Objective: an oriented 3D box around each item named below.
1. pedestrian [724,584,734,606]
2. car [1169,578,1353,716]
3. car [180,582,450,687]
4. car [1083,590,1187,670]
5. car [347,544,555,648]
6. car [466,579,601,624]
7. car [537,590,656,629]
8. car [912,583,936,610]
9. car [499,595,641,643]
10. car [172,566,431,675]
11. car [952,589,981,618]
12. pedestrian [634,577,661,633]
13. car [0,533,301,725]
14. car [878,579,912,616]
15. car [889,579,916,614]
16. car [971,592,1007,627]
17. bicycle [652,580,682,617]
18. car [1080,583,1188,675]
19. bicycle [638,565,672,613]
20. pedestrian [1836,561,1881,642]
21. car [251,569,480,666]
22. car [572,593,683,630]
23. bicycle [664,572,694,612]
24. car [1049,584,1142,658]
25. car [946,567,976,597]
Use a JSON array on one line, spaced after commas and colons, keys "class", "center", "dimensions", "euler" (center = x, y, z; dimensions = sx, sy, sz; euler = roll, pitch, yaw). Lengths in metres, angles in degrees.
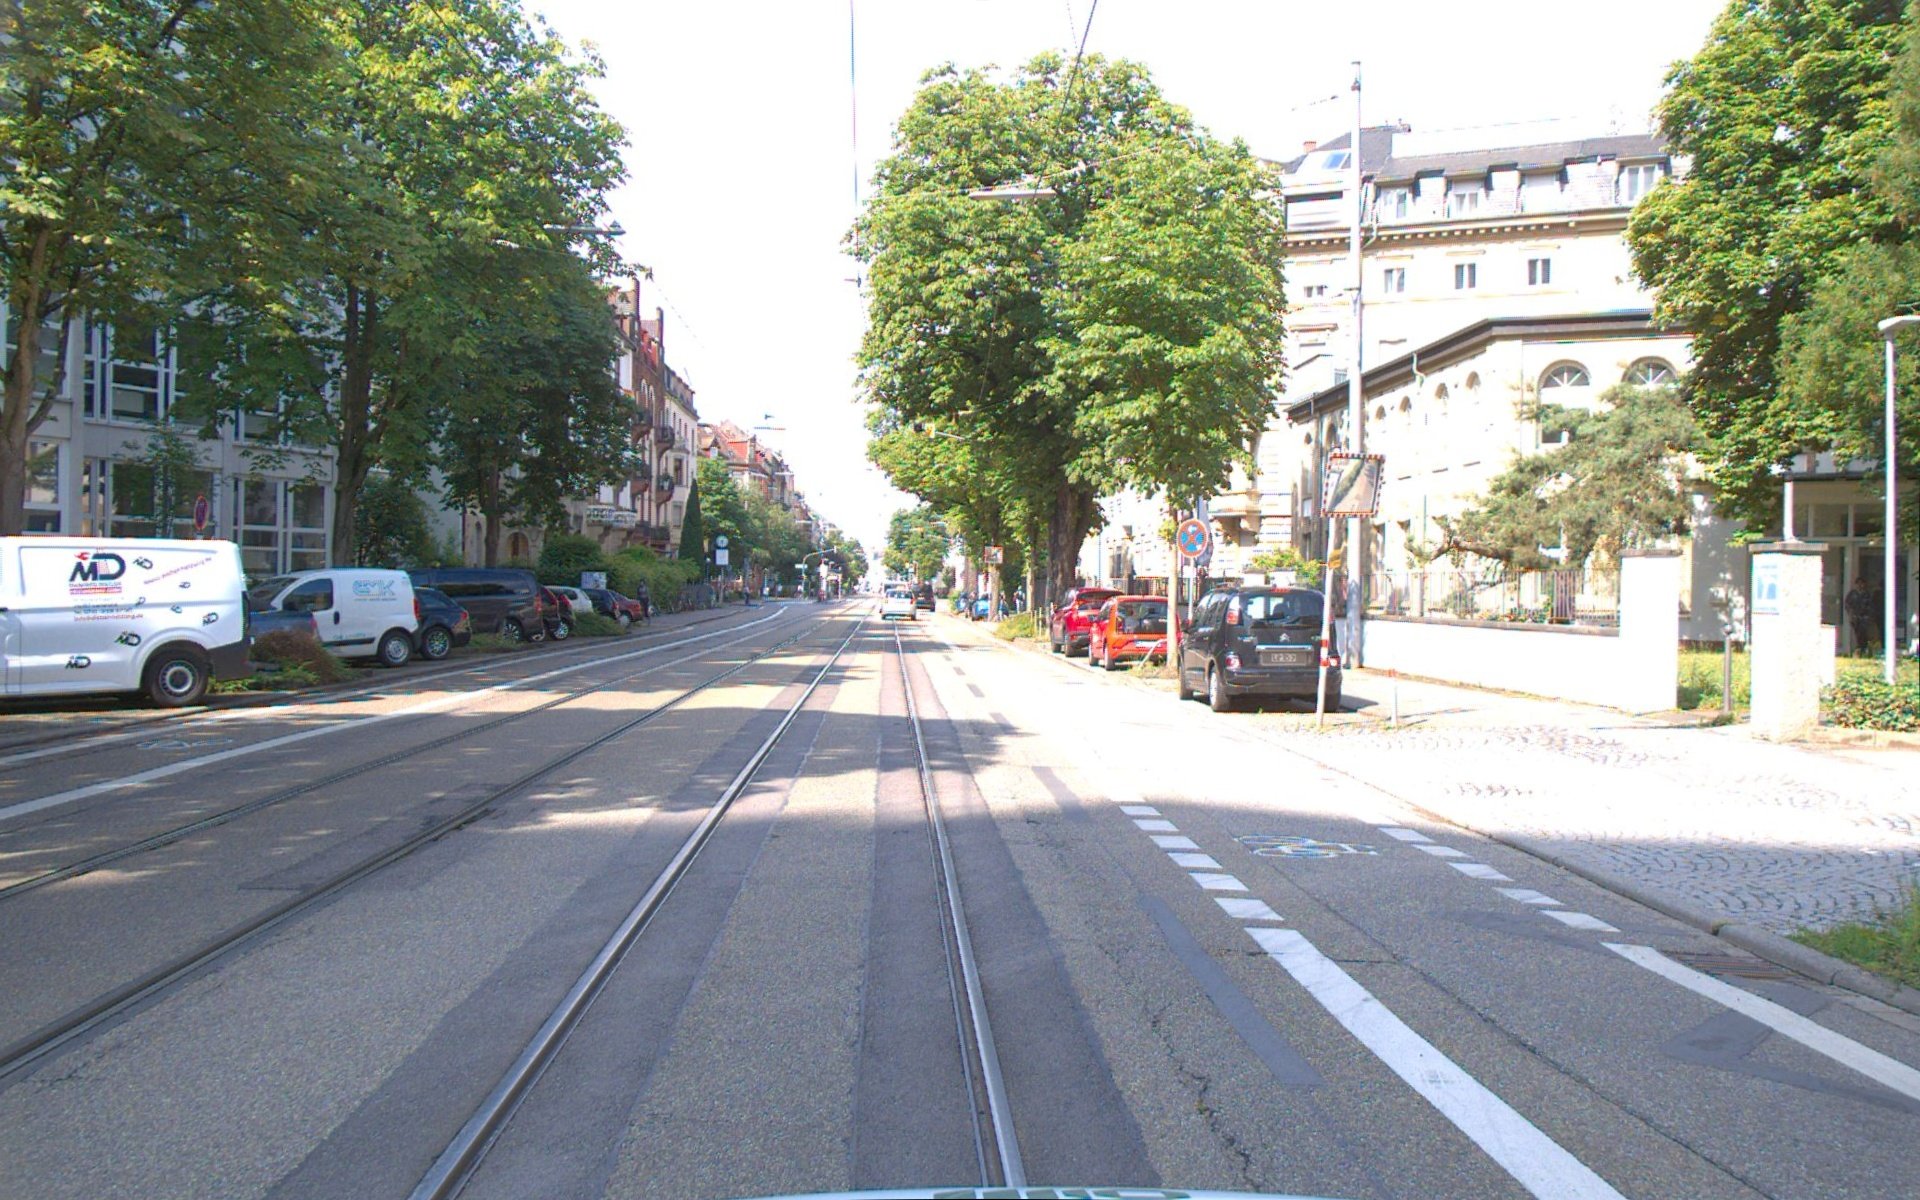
[{"class": "pedestrian", "center": [-21.606, -0.488, 154.754], "dimensions": [0.869, 2.049, 0.786], "euler": [1, 0, -12]}, {"class": "car", "center": [3.990, 0.562, 22.447], "dimensions": [1.640, 1.639, 3.583], "euler": [-2, 1, -3]}, {"class": "car", "center": [-10.120, 0.519, 26.124], "dimensions": [1.729, 1.527, 3.619], "euler": [-1, -1, 39]}, {"class": "car", "center": [3.546, 0.581, 33.953], "dimensions": [1.634, 1.512, 3.278], "euler": [-2, 0, -2]}, {"class": "car", "center": [-11.730, -0.061, 38.333], "dimensions": [1.850, 2.117, 4.179], "euler": [3, -1, 41]}, {"class": "car", "center": [-13.166, 0.050, 51.198], "dimensions": [3.753, 1.329, 1.613], "euler": [1, 0, -42]}, {"class": "car", "center": [-12.602, 0.331, 57.510], "dimensions": [3.753, 1.329, 1.613], "euler": [1, 0, -42]}, {"class": "car", "center": [-2.499, -0.242, 114.779], "dimensions": [1.589, 1.881, 3.563], "euler": [1, 0, -3]}, {"class": "car", "center": [-11.408, 0.549, 48.441], "dimensions": [3.753, 1.329, 1.613], "euler": [1, 0, -42]}, {"class": "car", "center": [-11.272, 0.328, 28.476], "dimensions": [1.850, 1.742, 3.737], "euler": [0, 0, 41]}, {"class": "car", "center": [0.389, 0.198, 101.642], "dimensions": [1.589, 1.713, 3.563], "euler": [1, 0, -3]}, {"class": "pedestrian", "center": [-11.589, 0.182, 61.421], "dimensions": [0.718, 2.048, 0.824], "euler": [-3, 0, 1]}, {"class": "car", "center": [-10.251, 0.312, 18.925], "dimensions": [4.609, 1.945, 1.901], "euler": [-5, 3, -44]}, {"class": "car", "center": [-3.103, -0.114, 79.096], "dimensions": [1.589, 1.713, 3.563], "euler": [1, 0, -3]}, {"class": "car", "center": [-3.477, -0.217, 99.601], "dimensions": [1.589, 2.035, 3.563], "euler": [1, 0, -3]}, {"class": "car", "center": [1.448, 0.461, 83.504], "dimensions": [1.589, 1.713, 3.563], "euler": [1, 0, -3]}, {"class": "bicycle", "center": [-14.101, -0.073, 79.705], "dimensions": [0.919, 1.777, 2.285], "euler": [0, 0, 3]}, {"class": "car", "center": [3.536, 0.547, 34.103], "dimensions": [1.641, 1.639, 3.583], "euler": [-3, 2, -3]}, {"class": "bicycle", "center": [-13.843, -0.493, 75.147], "dimensions": [0.919, 2.115, 2.500], "euler": [0, 0, 3]}, {"class": "pedestrian", "center": [19.137, 0.036, 35.243], "dimensions": [0.755, 1.707, 0.808], "euler": [0, 0, 24]}, {"class": "car", "center": [-11.386, 0.323, 31.828], "dimensions": [1.850, 1.742, 3.737], "euler": [0, 0, 41]}, {"class": "car", "center": [-12.210, 0.419, 60.856], "dimensions": [3.753, 1.329, 1.613], "euler": [1, 0, -42]}, {"class": "bicycle", "center": [-14.008, -0.389, 82.506], "dimensions": [0.919, 1.952, 2.500], "euler": [0, 0, 3]}, {"class": "car", "center": [3.317, 0.499, 41.159], "dimensions": [1.920, 1.736, 3.999], "euler": [1, 0, -1]}, {"class": "car", "center": [0.042, -1.051, 98.240], "dimensions": [1.589, 1.713, 3.563], "euler": [1, 0, -3]}]
